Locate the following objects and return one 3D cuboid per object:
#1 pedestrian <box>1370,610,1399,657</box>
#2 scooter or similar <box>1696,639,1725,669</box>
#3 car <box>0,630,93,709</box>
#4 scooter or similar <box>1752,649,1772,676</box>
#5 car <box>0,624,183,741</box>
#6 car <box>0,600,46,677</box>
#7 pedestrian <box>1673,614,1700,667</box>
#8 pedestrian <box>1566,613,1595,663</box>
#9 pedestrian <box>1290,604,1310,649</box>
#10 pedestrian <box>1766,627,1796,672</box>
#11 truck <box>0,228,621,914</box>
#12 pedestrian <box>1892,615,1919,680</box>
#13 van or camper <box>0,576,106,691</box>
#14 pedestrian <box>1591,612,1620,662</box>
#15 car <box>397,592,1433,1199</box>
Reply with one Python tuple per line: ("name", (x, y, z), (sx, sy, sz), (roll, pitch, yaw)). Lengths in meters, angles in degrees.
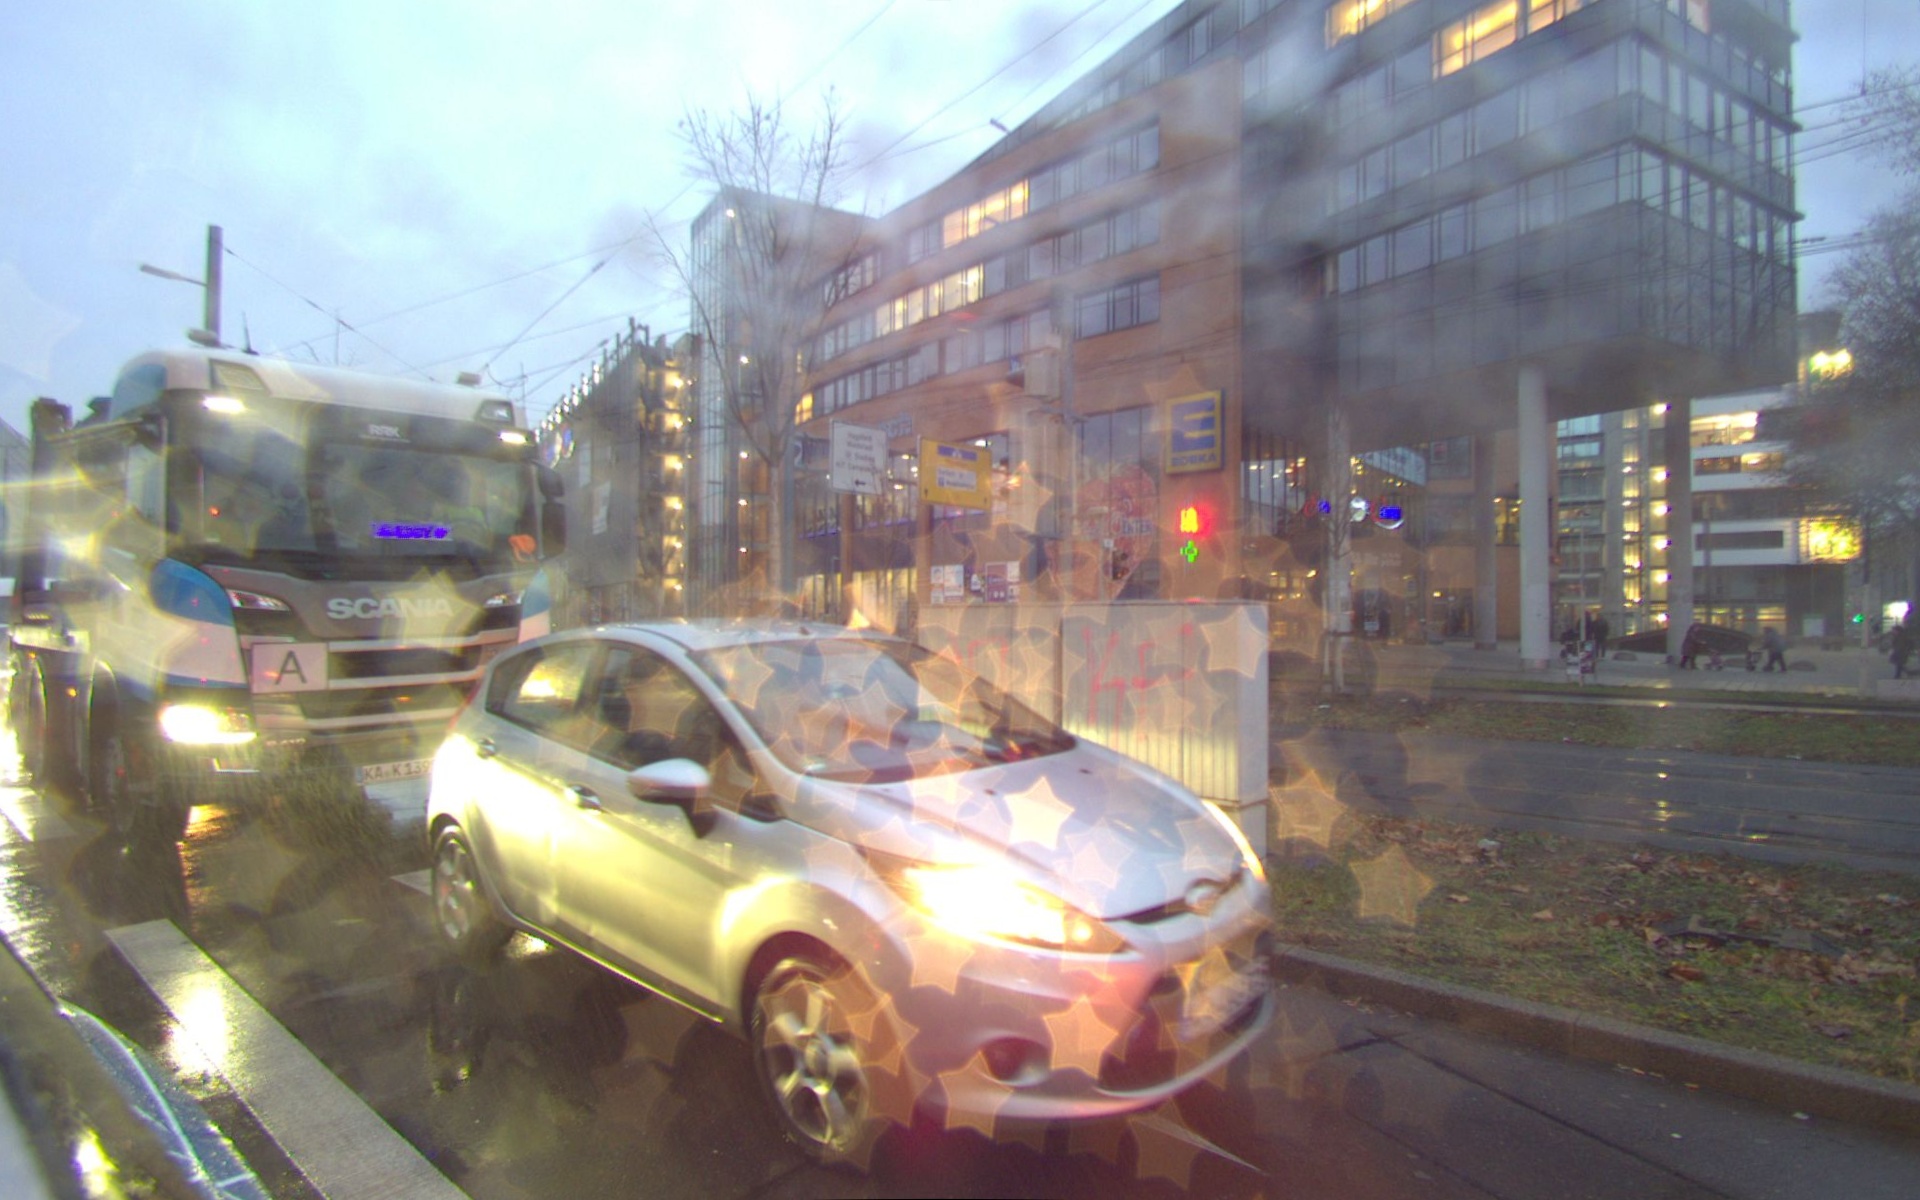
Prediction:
("pedestrian", (16.096, 1.255, 38.413), (0.782, 1.766, 0.704), (0, -2, -1))
("scooter or similar", (25.154, 1.810, 33.923), (0.545, 0.968, 0.667), (2, -2, -43))
("car", (-18.006, 1.269, 19.359), (4.057, 1.355, 1.735), (-1, -2, 44))
("scooter or similar", (26.540, 2.069, 33.509), (0.545, 0.856, 0.433), (2, -2, -43))
("car", (-13.447, 1.159, 15.538), (3.939, 1.535, 1.613), (0, -2, 41))
("car", (-37.658, 1.481, 39.574), (5.810, 2.885, 2.102), (-1, -2, 41))
("pedestrian", (24.707, 1.383, 34.426), (0.564, 1.787, 0.638), (2, -2, -43))
("pedestrian", (23.407, 1.432, 38.185), (0.723, 1.878, 0.574), (1, -2, -13))
("pedestrian", (13.493, 1.039, 40.180), (0.658, 1.766, 0.534), (0, -2, 12))
("pedestrian", (26.900, 1.610, 33.154), (0.564, 1.470, 0.685), (2, -2, -43))
("truck", (-6.306, -0.085, 8.924), (7.521, 3.661, 2.810), (-1, -2, 40))
("pedestrian", (28.005, 1.391, 29.828), (0.564, 1.878, 0.736), (2, -2, -43))
("van or camper", (-23.146, 0.805, 25.021), (5.894, 2.551, 2.126), (-1, -2, 40))
("pedestrian", (24.508, 1.414, 38.418), (0.723, 1.878, 0.574), (1, -2, -14))
("car", (-0.550, 0.729, 3.920), (4.000, 1.458, 1.687), (-1, 0, 43))
